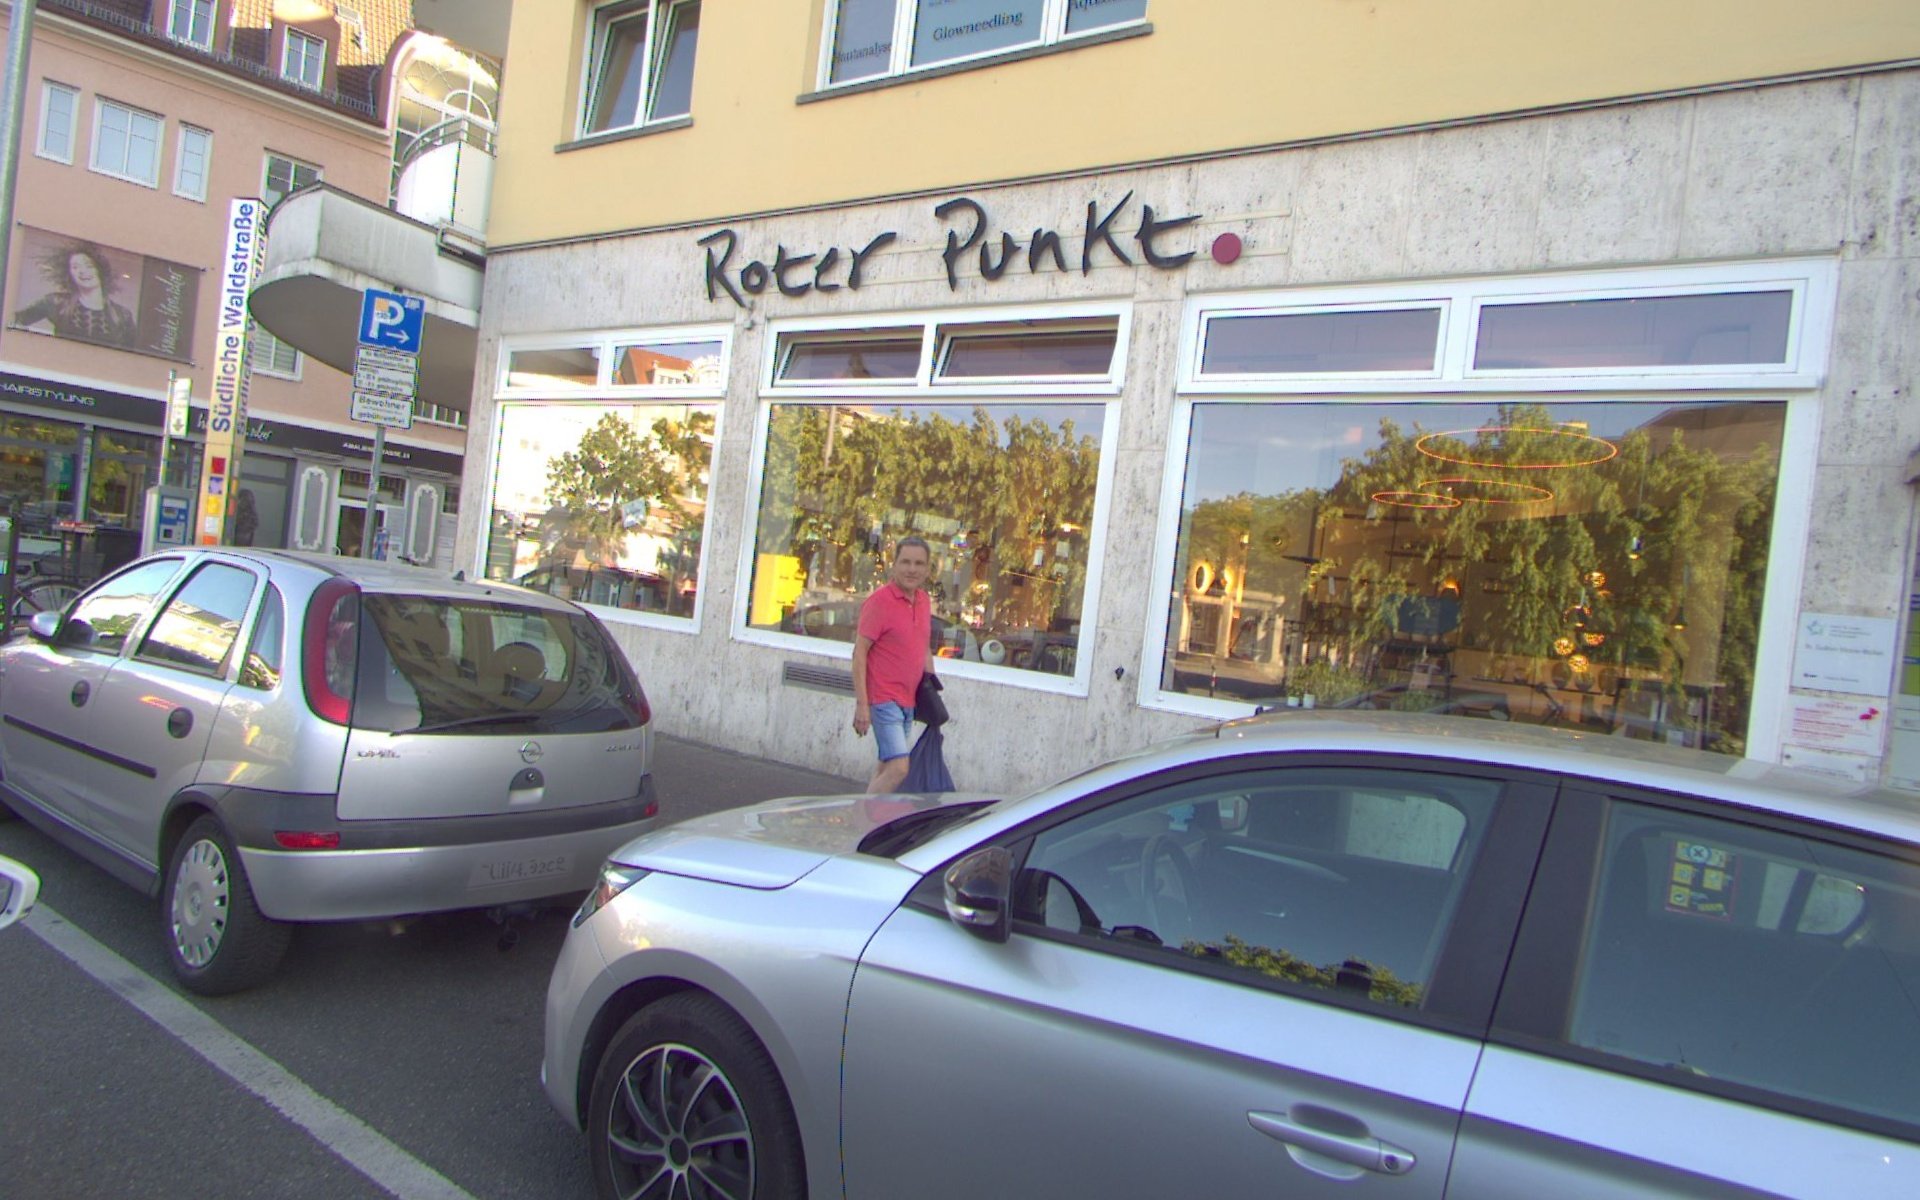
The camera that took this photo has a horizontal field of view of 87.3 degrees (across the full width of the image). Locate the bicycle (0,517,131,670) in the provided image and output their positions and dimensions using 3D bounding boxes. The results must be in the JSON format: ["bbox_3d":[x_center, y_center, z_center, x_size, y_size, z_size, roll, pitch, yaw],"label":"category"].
[{"bbox_3d":[-8.107,-0.084,8.228,0.681,1.208,1.885,8,1,37],"label":"bicycle"}]

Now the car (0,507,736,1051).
[{"bbox_3d":[-2.943,0.479,4.461,3.583,1.397,1.616,7,-2,32],"label":"car"}]

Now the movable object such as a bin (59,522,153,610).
[{"bbox_3d":[-11.903,-0.469,14.029,0.617,1.105,0.754,6,-1,34],"label":"movable object such as a bin"}]

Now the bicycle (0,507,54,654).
[{"bbox_3d":[-9.112,-0.236,8.702,0.778,1.284,1.721,7,1,37],"label":"bicycle"}]

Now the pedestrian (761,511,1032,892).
[{"bbox_3d":[-0.346,0.490,5.455,0.994,1.807,0.862,7,2,40],"label":"pedestrian"}]

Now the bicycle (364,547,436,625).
[{"bbox_3d":[-10.036,-0.272,17.980,0.656,1.213,2.187,7,-1,-39],"label":"bicycle"}]

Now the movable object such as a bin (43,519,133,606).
[{"bbox_3d":[-12.439,-0.527,14.349,0.617,1.105,0.734,6,-1,34],"label":"movable object such as a bin"}]

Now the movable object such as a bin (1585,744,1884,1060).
[{"bbox_3d":[3.373,1.261,4.488,0.879,1.066,0.751,7,0,32],"label":"movable object such as a bin"}]

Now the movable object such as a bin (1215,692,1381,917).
[{"bbox_3d":[1.867,1.067,5.514,0.592,1.041,0.811,7,0,32],"label":"movable object such as a bin"}]

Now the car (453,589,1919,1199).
[{"bbox_3d":[0.777,0.926,2.309,3.643,1.415,1.653,7,-1,30],"label":"car"}]
